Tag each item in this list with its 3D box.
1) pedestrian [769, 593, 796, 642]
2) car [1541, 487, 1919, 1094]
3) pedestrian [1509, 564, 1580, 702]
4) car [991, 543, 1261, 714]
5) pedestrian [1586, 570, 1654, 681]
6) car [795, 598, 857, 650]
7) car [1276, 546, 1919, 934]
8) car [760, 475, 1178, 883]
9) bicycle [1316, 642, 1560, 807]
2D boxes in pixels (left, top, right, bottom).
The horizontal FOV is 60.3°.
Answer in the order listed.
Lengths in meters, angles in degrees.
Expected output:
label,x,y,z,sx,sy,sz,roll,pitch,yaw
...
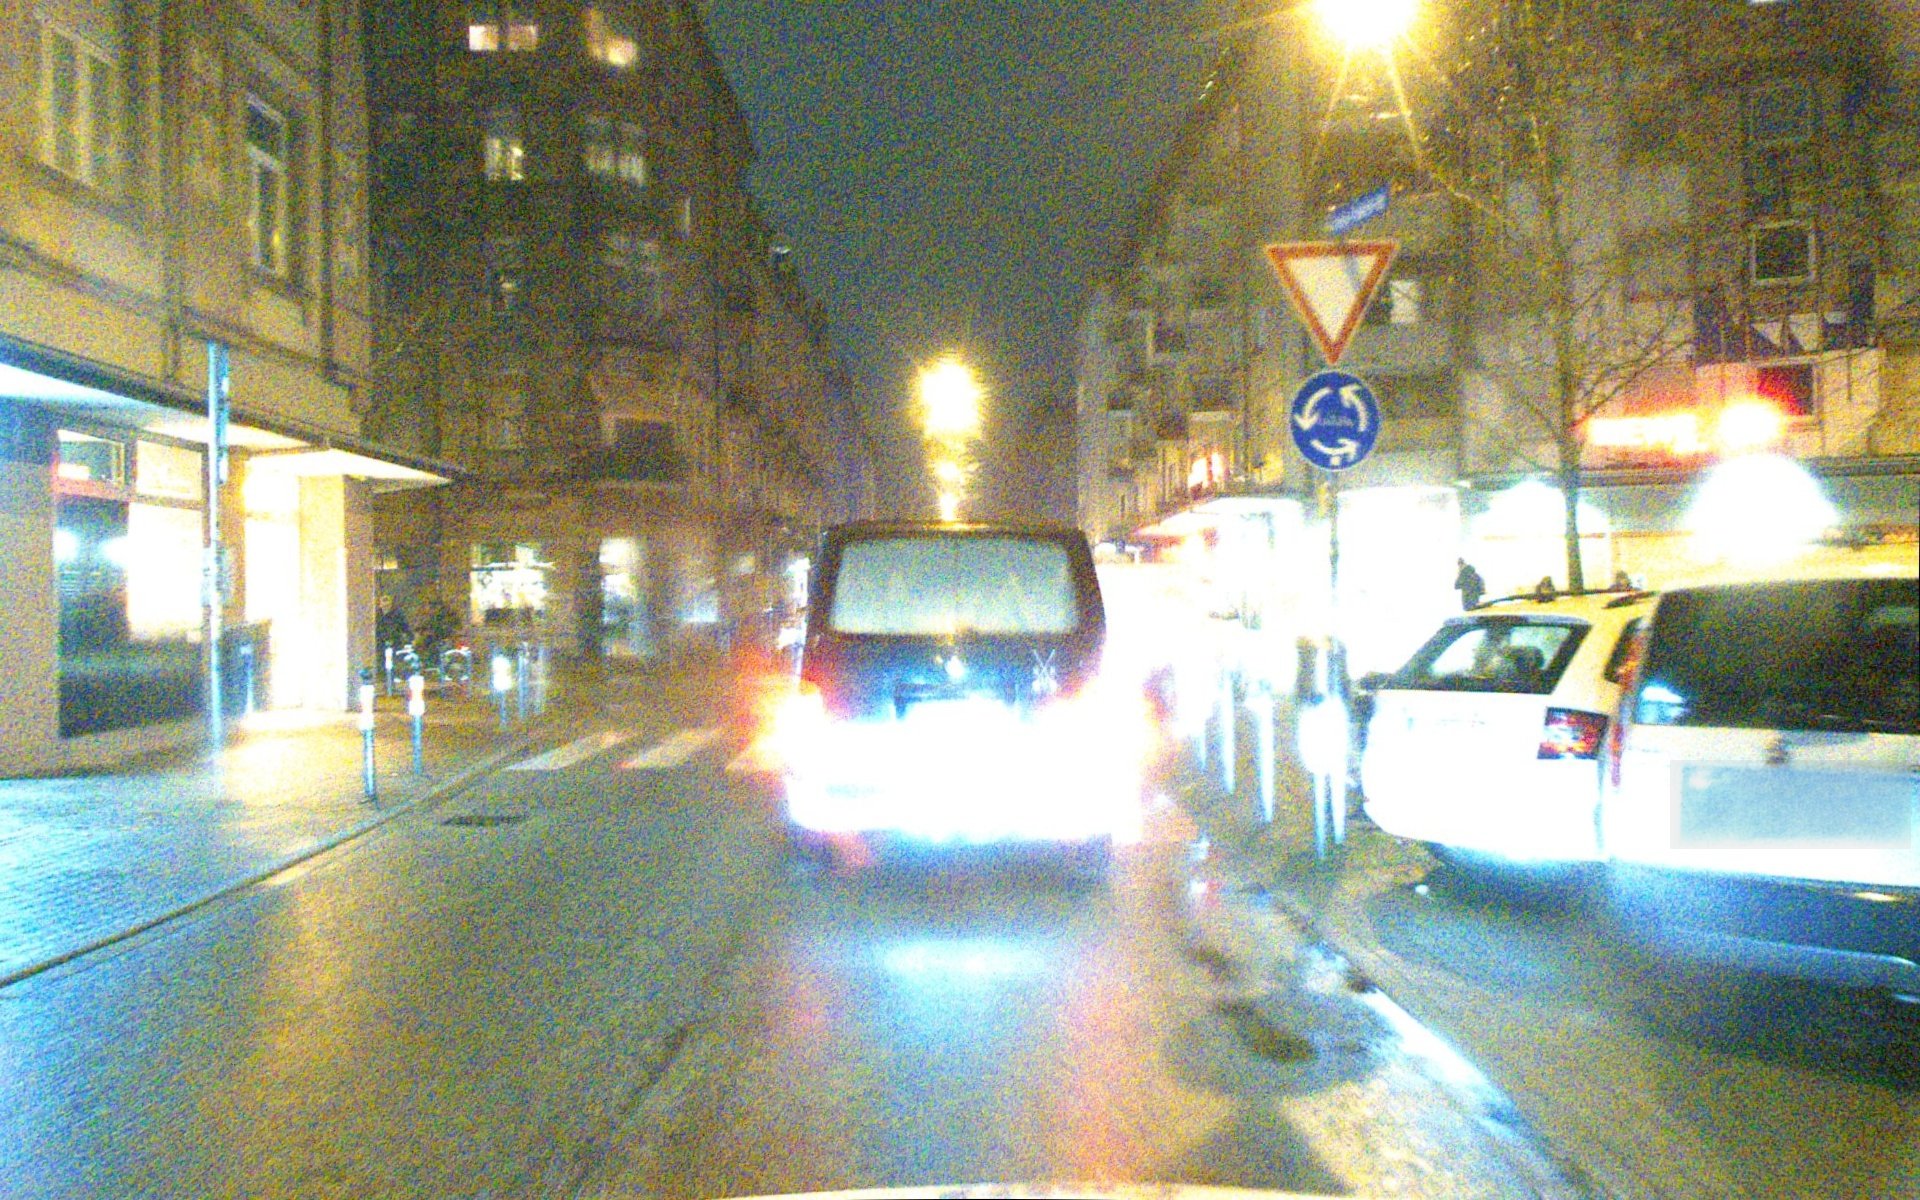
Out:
label,x,y,z,sx,sy,sz,roll,pitch,yaw
pedestrian,-6.533,0.643,60.973,0.787,1.797,1.016,1,-1,5
car,4.044,0.482,6.097,3.698,1.742,1.750,-3,0,-36
pedestrian,7.744,0.431,21.933,0.808,1.802,0.600,0,0,12
car,2.308,0.321,21.619,2.080,1.956,4.823,0,0,25
pedestrian,11.315,0.431,28.354,0.861,1.865,0.980,-1,-1,35
car,-4.195,0.727,52.224,1.554,1.489,4.024,2,0,0
car,3.938,0.569,8.970,4.203,1.601,1.755,-3,0,-29
car,0.039,0.397,10.571,2.079,2.026,4.600,0,0,0
bicycle,3.239,0.818,11.317,1.618,1.044,0.334,-1,1,44
